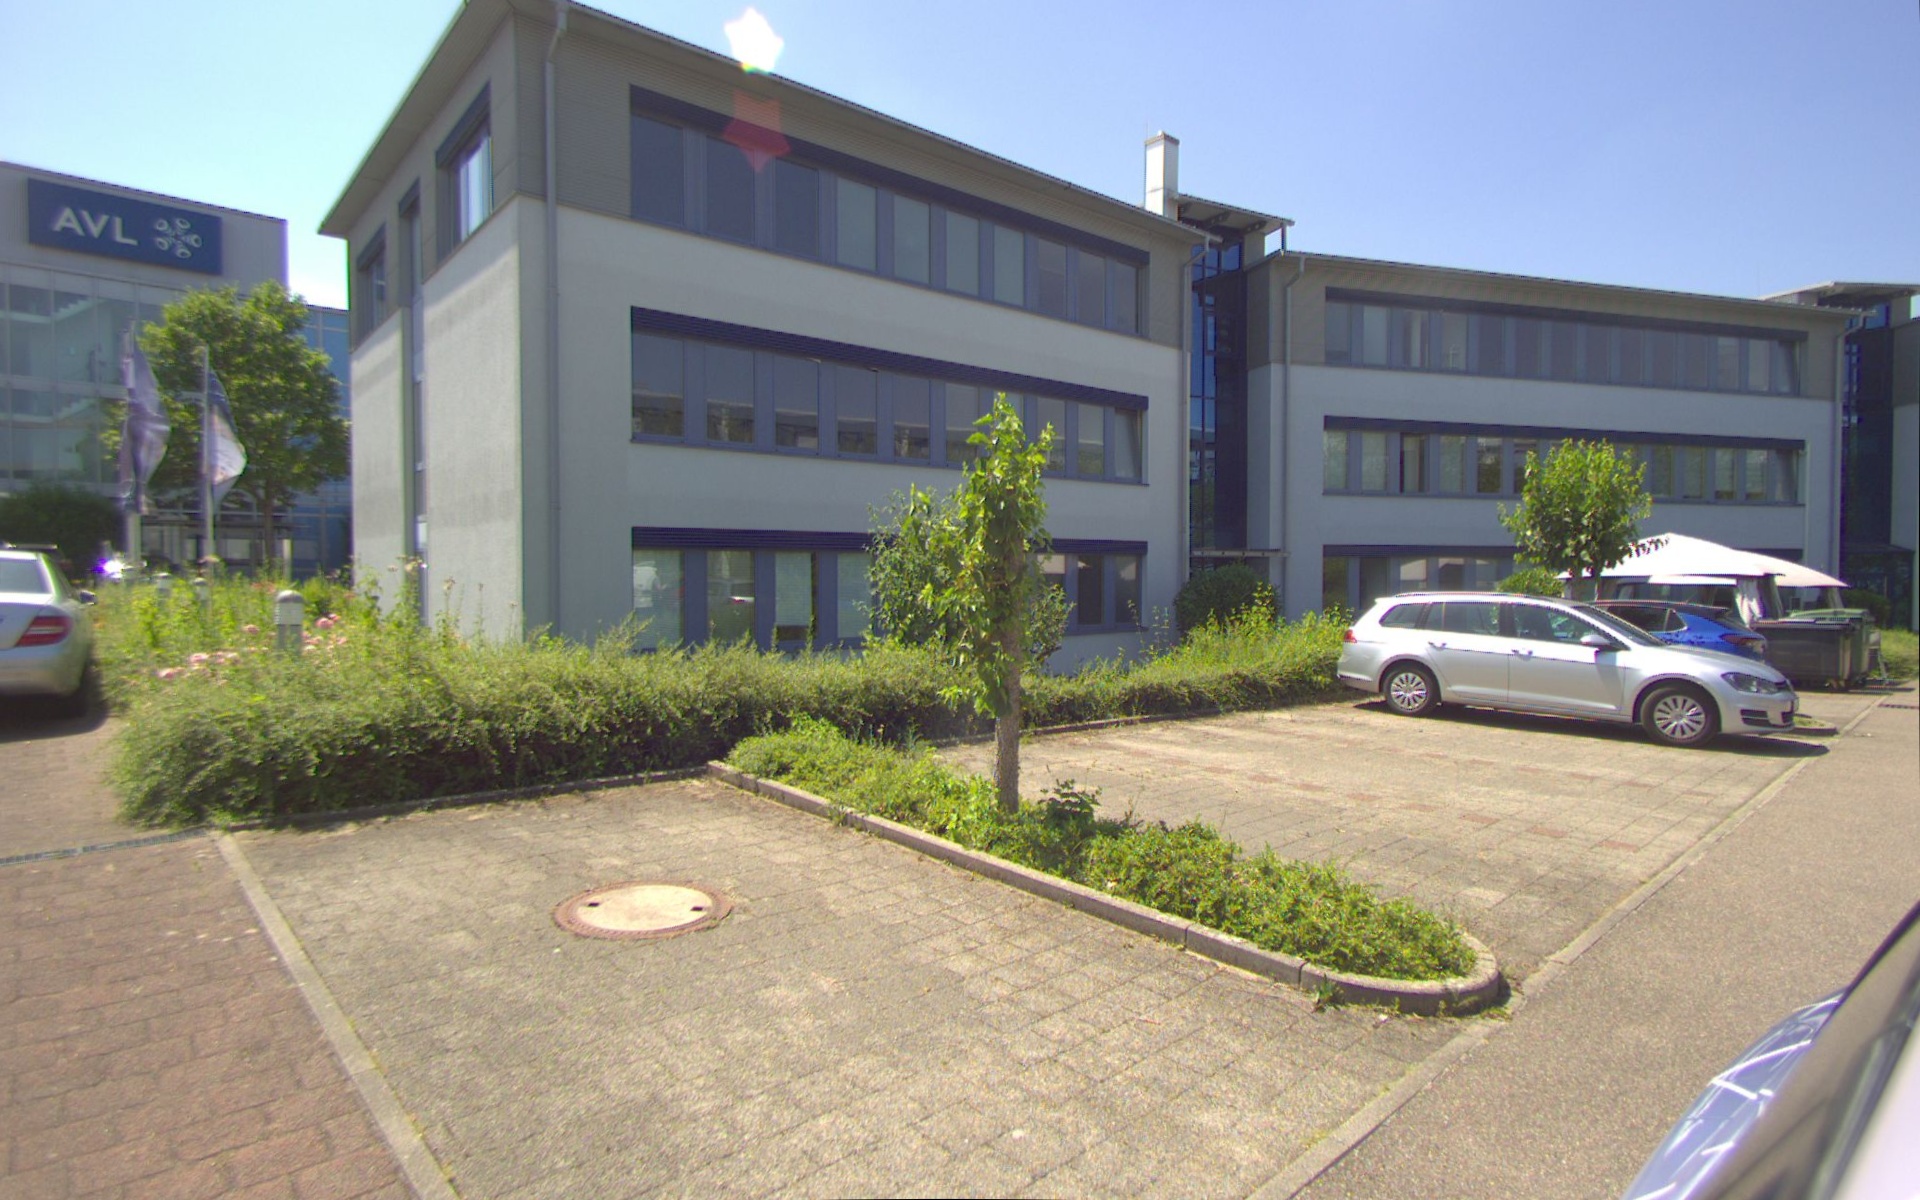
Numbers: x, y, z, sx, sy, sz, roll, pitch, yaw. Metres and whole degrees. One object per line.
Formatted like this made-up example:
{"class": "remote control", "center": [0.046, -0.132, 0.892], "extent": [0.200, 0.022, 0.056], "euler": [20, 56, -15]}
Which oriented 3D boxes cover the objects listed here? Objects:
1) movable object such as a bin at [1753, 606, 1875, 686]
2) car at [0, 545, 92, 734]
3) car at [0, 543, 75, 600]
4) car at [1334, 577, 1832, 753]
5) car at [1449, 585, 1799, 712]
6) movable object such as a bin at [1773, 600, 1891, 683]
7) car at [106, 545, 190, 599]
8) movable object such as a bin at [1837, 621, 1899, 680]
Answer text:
{"class": "movable object such as a bin", "center": [14.055, 0.726, 16.671], "extent": [0.979, 1.204, 1.364], "euler": [0, 1, -38]}
{"class": "car", "center": [-8.870, 0.271, 8.964], "extent": [1.700, 1.454, 3.710], "euler": [0, 1, -42]}
{"class": "car", "center": [-27.166, -0.823, 29.657], "extent": [1.720, 1.538, 3.991], "euler": [0, 1, -43]}
{"class": "car", "center": [6.836, 0.554, 11.509], "extent": [1.799, 1.515, 4.510], "euler": [0, 2, -44]}
{"class": "car", "center": [9.162, 0.563, 14.169], "extent": [1.625, 1.409, 3.818], "euler": [0, 3, -44]}
{"class": "movable object such as a bin", "center": [14.900, 0.675, 17.304], "extent": [1.024, 1.312, 1.363], "euler": [0, 1, -38]}
{"class": "car", "center": [-25.166, -0.856, 31.318], "extent": [1.720, 1.538, 3.991], "euler": [0, 1, -43]}
{"class": "movable object such as a bin", "center": [15.799, 0.858, 17.619], "extent": [0.709, 0.961, 0.690], "euler": [0, 1, -38]}
